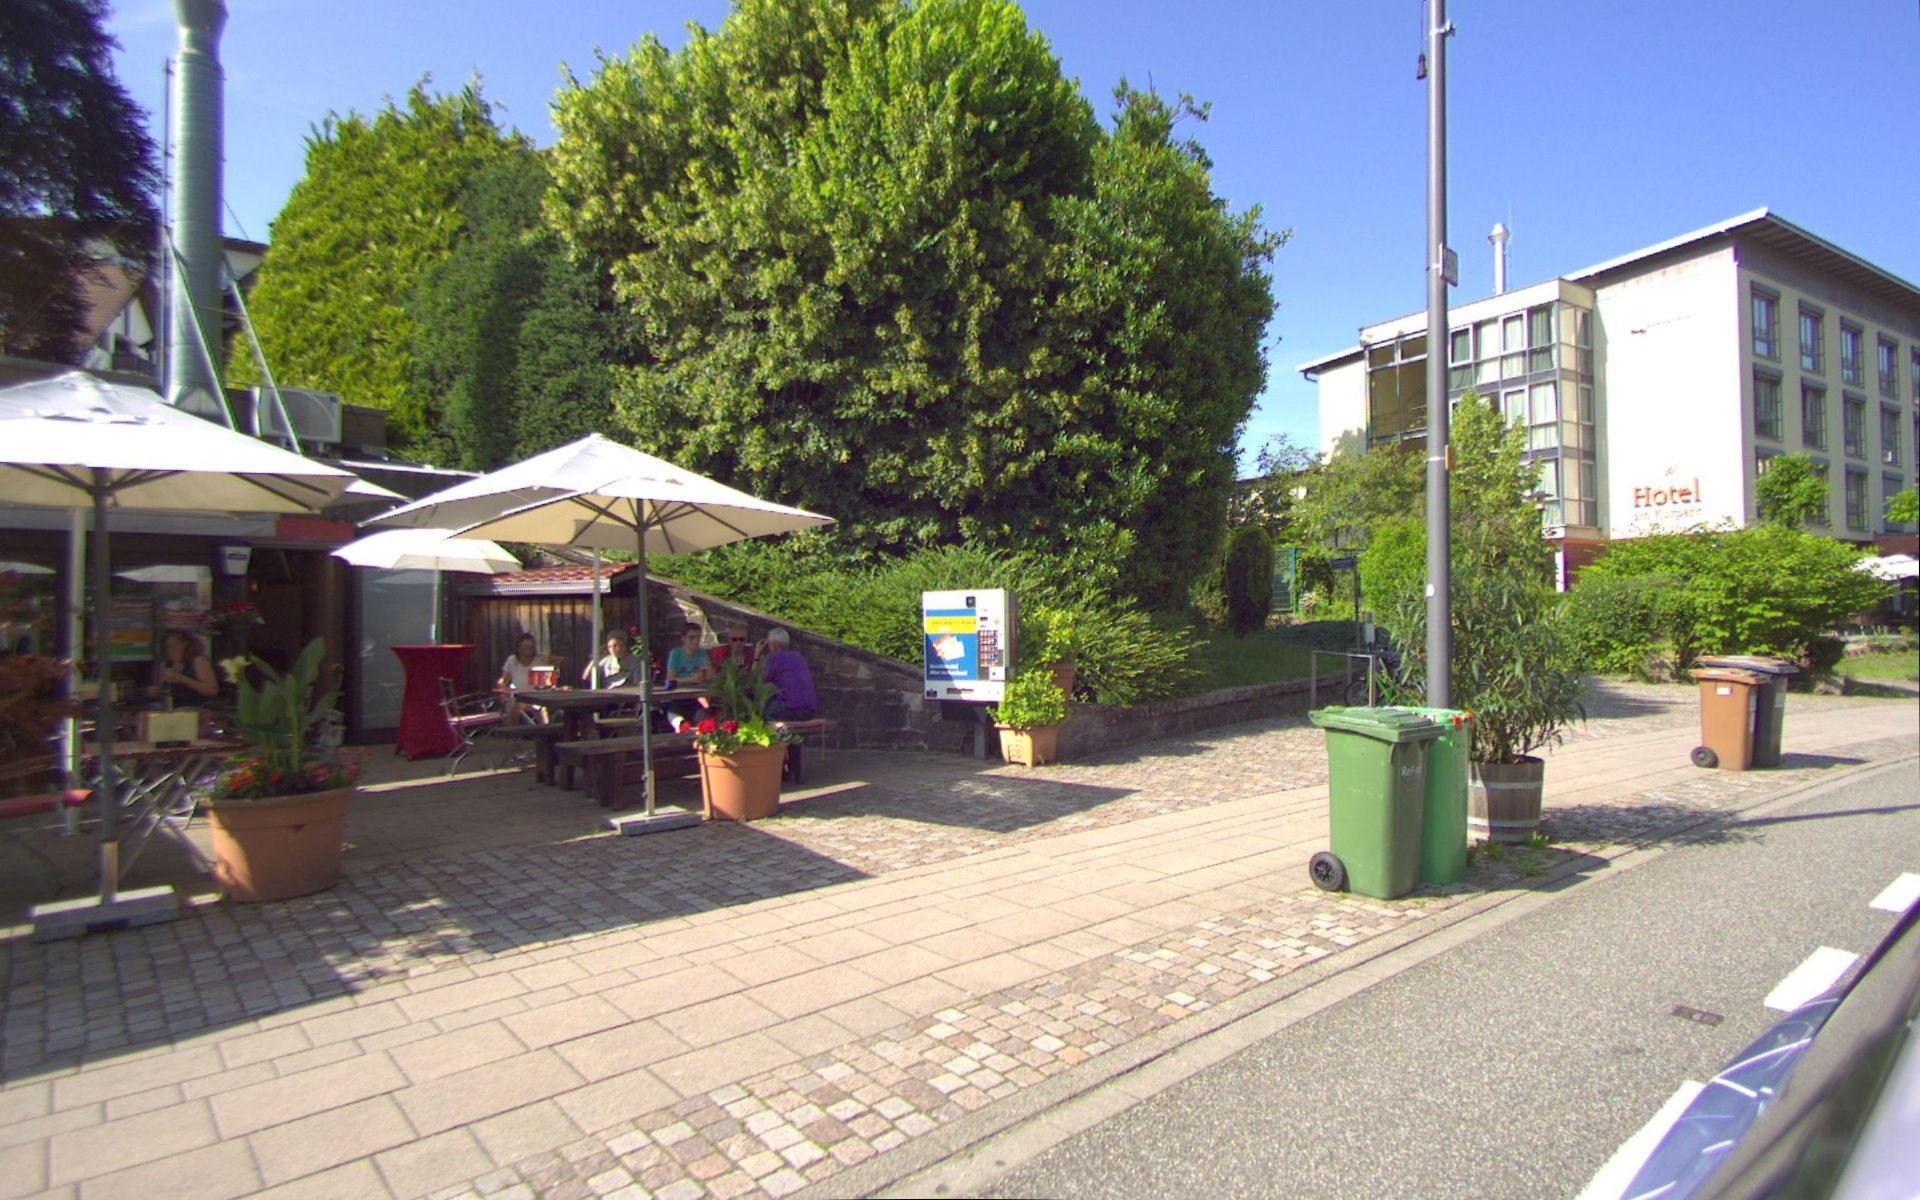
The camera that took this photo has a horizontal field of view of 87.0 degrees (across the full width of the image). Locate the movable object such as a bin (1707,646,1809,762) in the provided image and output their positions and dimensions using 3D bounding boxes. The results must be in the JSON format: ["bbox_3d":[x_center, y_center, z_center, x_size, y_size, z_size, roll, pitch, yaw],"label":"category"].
[{"bbox_3d":[7.799,0.993,9.900,0.561,1.045,0.658,1,0,-37],"label":"movable object such as a bin"}]

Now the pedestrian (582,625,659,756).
[{"bbox_3d":[-3.386,0.888,10.121,0.584,1.253,0.508,1,0,0],"label":"pedestrian"}]

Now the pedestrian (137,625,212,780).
[{"bbox_3d":[-6.862,0.869,8.843,0.499,1.284,0.409,1,0,-39],"label":"pedestrian"}]

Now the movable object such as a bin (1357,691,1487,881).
[{"bbox_3d":[2.538,0.992,5.571,0.433,0.924,0.515,1,-1,-39],"label":"movable object such as a bin"}]

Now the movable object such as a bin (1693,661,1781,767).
[{"bbox_3d":[7.346,1.057,9.572,0.552,0.923,0.526,1,0,-37],"label":"movable object such as a bin"}]

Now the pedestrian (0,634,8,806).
[{"bbox_3d":[-7.489,0.900,7.579,0.467,1.281,0.434,0,0,37],"label":"pedestrian"}]

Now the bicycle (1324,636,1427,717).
[{"bbox_3d":[5.567,1.003,13.637,0.376,0.920,1.551,2,1,-16],"label":"bicycle"}]

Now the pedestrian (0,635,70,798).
[{"bbox_3d":[-7.485,0.911,8.082,0.383,1.247,0.471,1,0,-14],"label":"pedestrian"}]

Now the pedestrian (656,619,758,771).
[{"bbox_3d":[-2.316,0.833,9.272,0.646,1.300,0.636,0,0,39],"label":"pedestrian"}]

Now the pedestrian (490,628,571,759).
[{"bbox_3d":[-4.360,0.923,10.264,0.685,1.247,0.509,1,0,-30],"label":"pedestrian"}]

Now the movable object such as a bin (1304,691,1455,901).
[{"bbox_3d":[2.168,0.975,5.242,0.510,0.937,0.549,1,-1,-39],"label":"movable object such as a bin"}]

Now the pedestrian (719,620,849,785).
[{"bbox_3d":[-1.516,0.839,8.720,0.946,1.300,0.636,0,0,39],"label":"pedestrian"}]

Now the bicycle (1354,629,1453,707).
[{"bbox_3d":[6.373,0.949,14.610,0.376,0.995,1.551,1,1,-16],"label":"bicycle"}]
